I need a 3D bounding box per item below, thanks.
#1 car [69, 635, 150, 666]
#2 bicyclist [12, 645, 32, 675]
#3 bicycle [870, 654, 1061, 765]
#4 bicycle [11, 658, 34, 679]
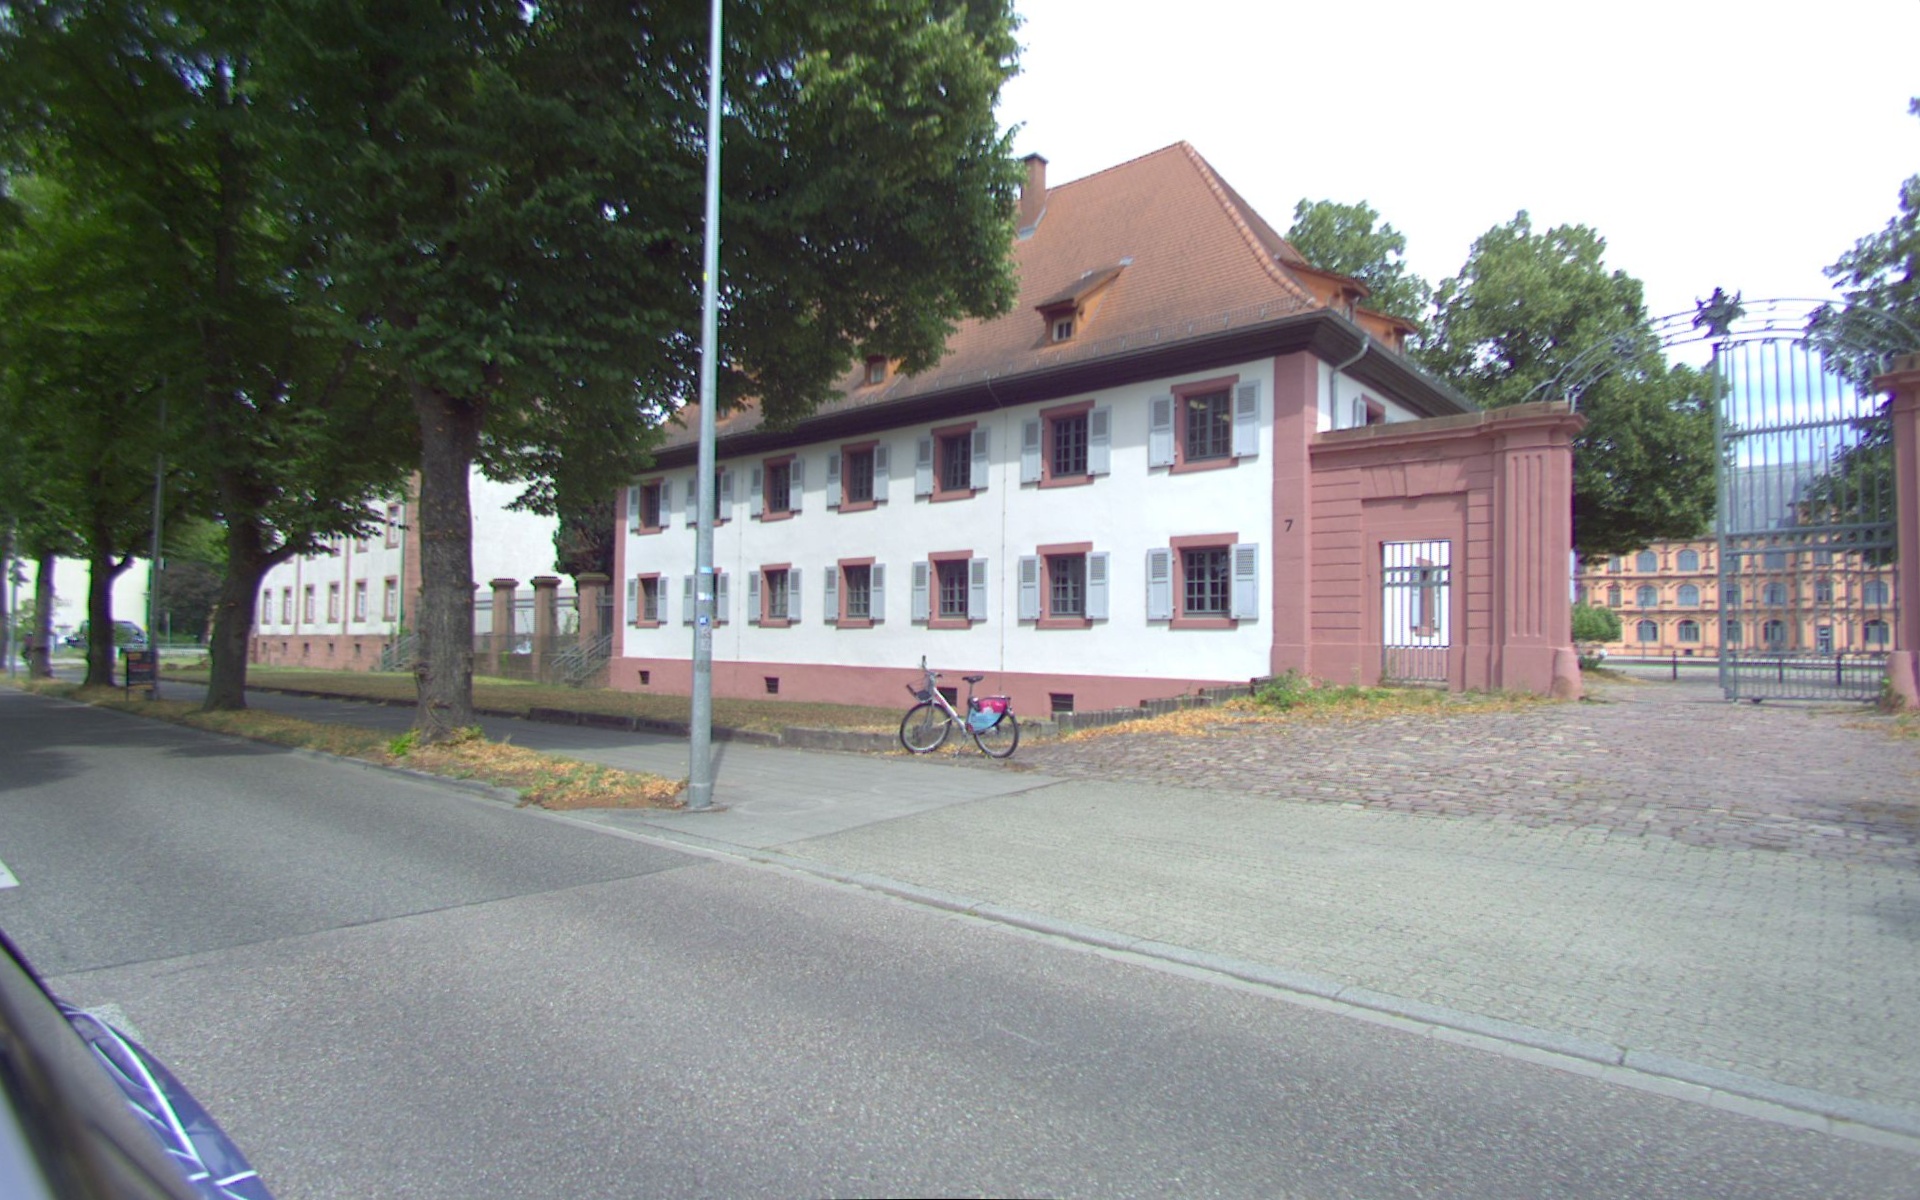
[{"bbox_3d":[-75.042,4.450,89.338,2.354,2.571,5.254,-3,-2,42],"label":"car"},{"bbox_3d":[-53.194,3.394,57.386,0.958,1.668,0.715,-3,-1,41],"label":"bicyclist"},{"bbox_3d":[0.018,1.207,11.592,2.224,1.103,0.715,-3,-1,41],"label":"bicycle"},{"bbox_3d":[-53.203,3.876,57.401,2.150,1.103,0.715,-3,-1,41],"label":"bicycle"}]
